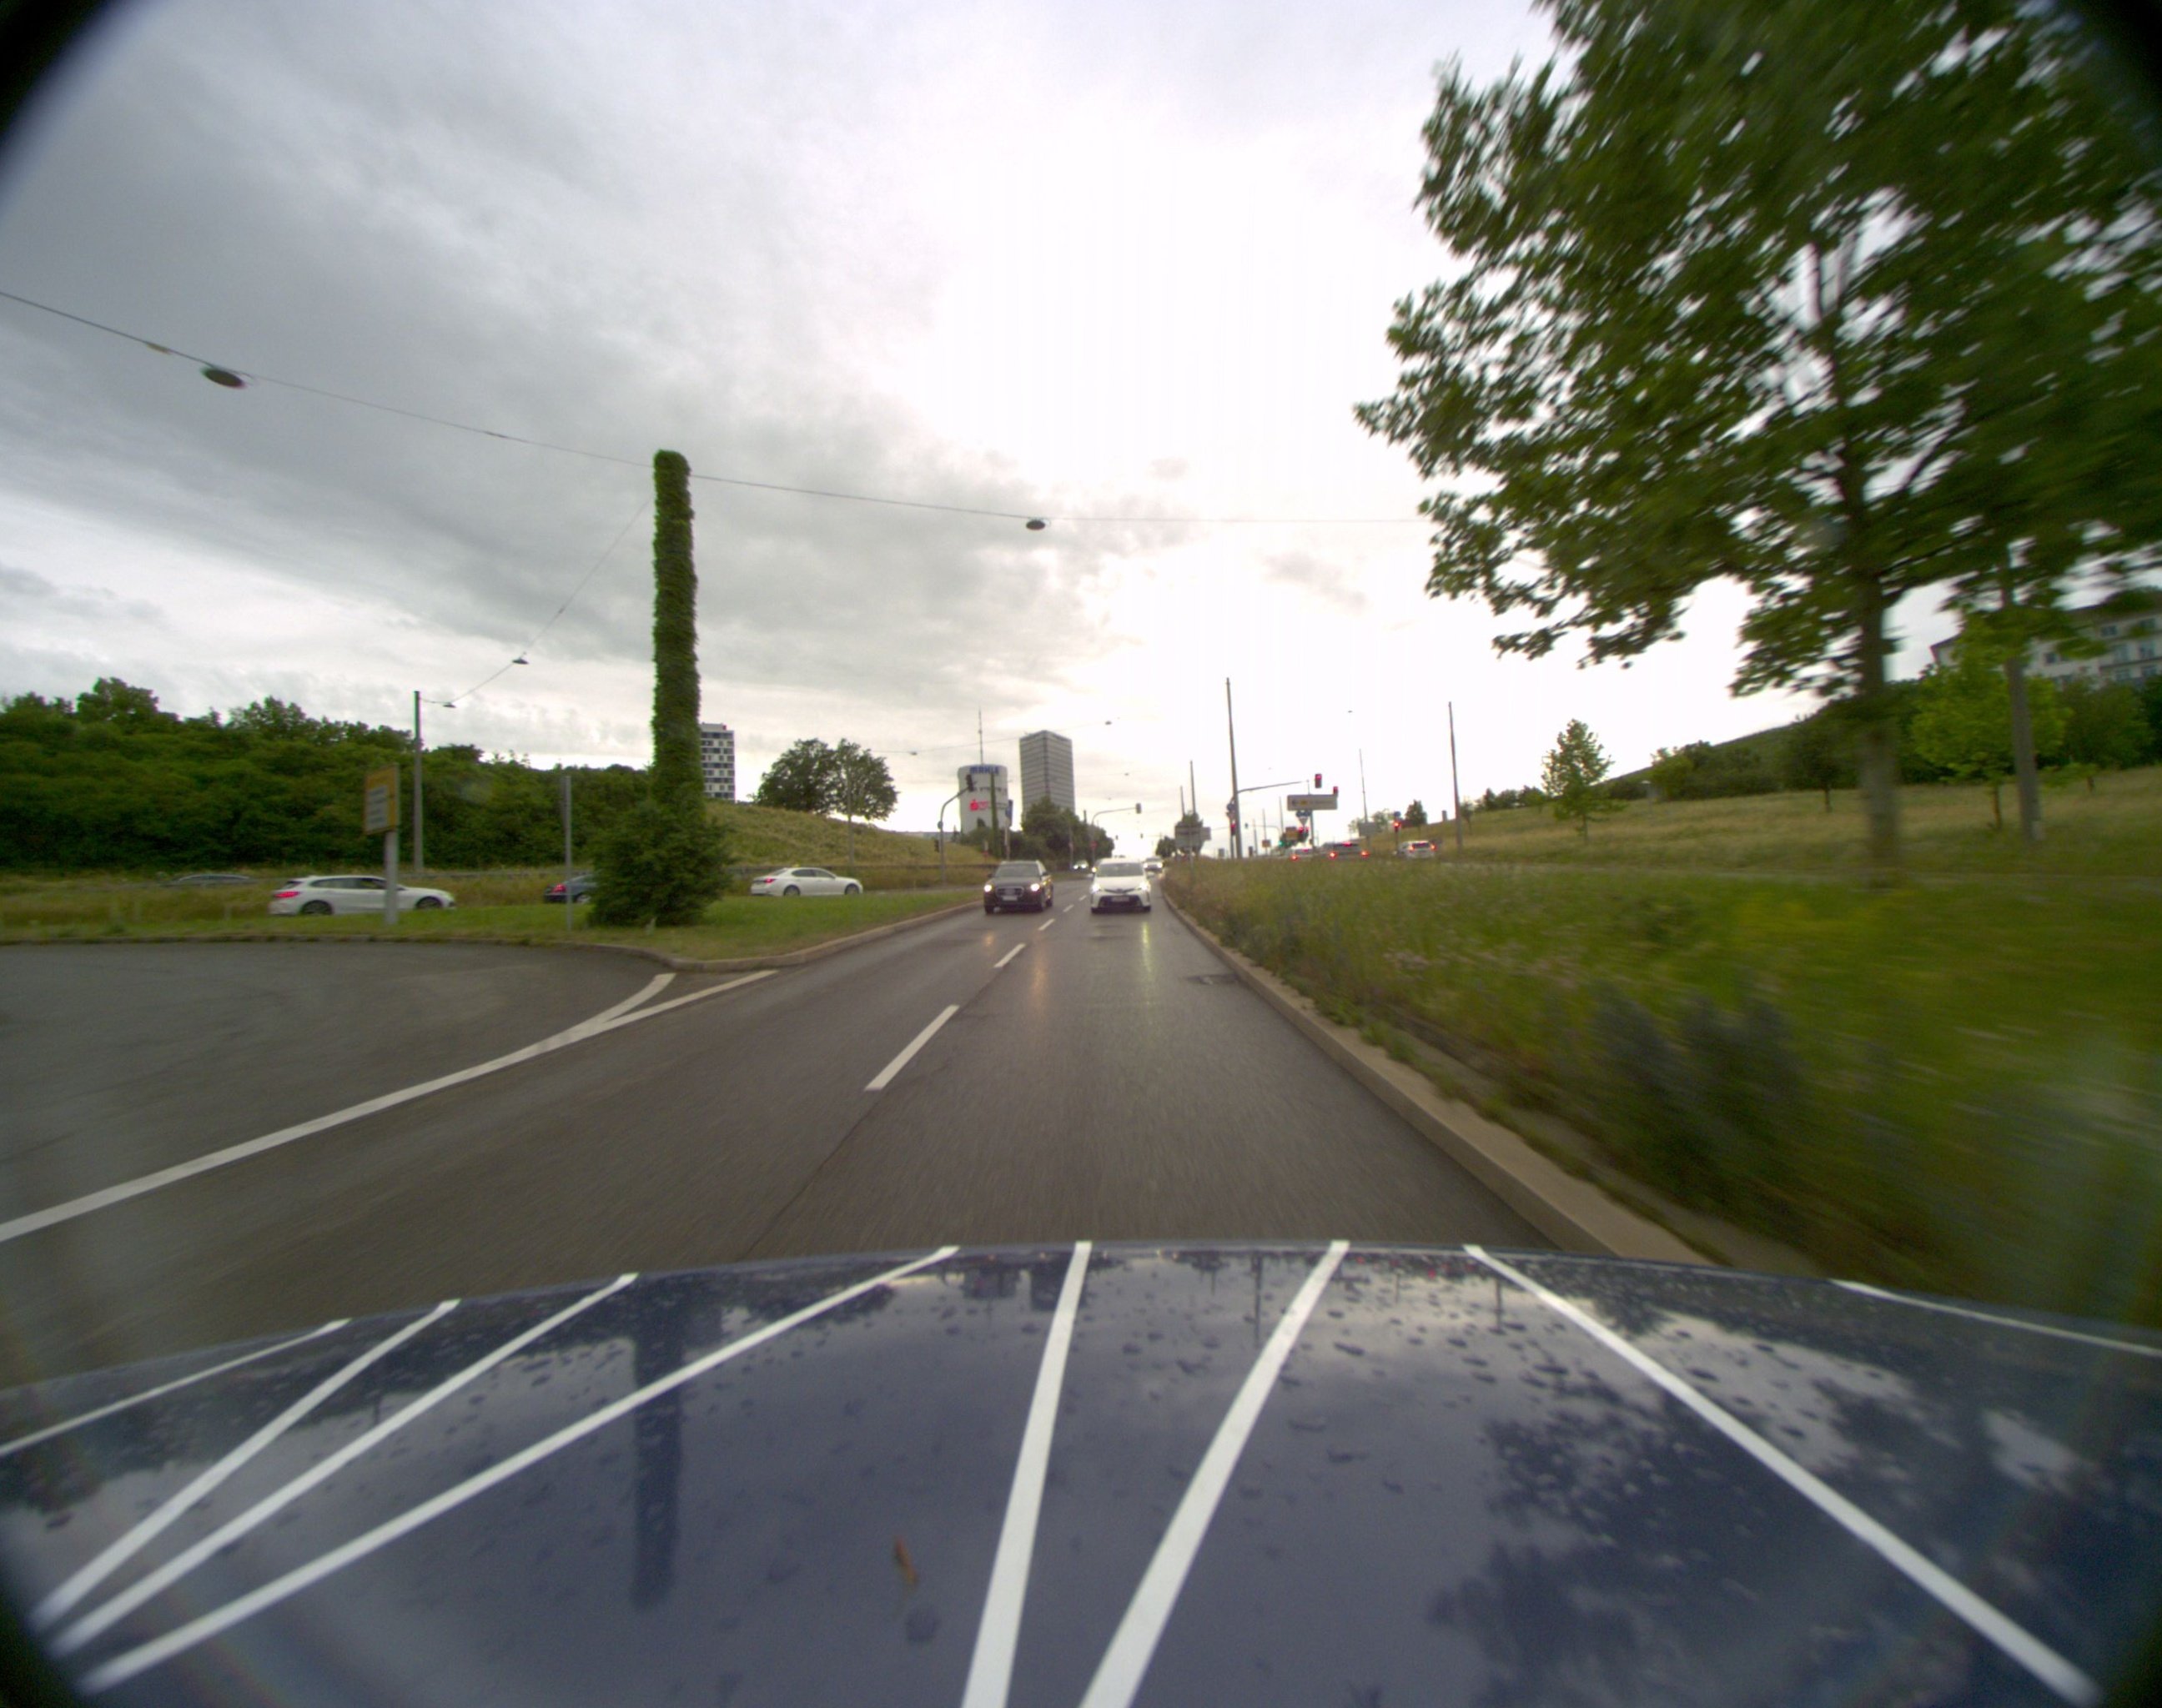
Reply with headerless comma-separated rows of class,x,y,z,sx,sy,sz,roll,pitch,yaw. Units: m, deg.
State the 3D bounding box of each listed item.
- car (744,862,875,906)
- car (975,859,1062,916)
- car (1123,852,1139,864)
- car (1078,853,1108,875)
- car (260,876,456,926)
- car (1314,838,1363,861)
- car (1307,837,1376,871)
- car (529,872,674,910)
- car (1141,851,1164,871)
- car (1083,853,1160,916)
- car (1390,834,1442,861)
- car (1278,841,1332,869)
car,-11.952,1.286,33.706,2.069,1.636,5.000,-2,0,43
car,-1.911,1.011,24.693,1.926,1.591,4.282,-2,0,7
car,6.751,0.551,102.087,1.781,1.591,4.122,-3,0,7
car,0.990,0.751,58.042,1.781,1.591,3.902,-3,0,7
car,-23.400,1.479,24.753,2.070,1.419,4.281,-3,-2,35
car,16.280,-0.273,48.228,1.807,1.299,4.019,-2,0,2
car,12.962,0.007,38.091,1.998,1.503,4.438,-4,0,2
car,-19.180,1.461,30.597,1.838,1.342,4.564,-3,-2,37
car,6.457,0.697,69.385,1.998,1.761,4.002,0,-1,4
car,1.351,0.847,23.461,1.923,1.604,4.377,-4,0,8
car,23.129,-0.458,52.644,1.997,1.634,4.801,-4,0,8
car,13.159,0.072,44.907,1.965,1.414,4.438,-4,0,2
